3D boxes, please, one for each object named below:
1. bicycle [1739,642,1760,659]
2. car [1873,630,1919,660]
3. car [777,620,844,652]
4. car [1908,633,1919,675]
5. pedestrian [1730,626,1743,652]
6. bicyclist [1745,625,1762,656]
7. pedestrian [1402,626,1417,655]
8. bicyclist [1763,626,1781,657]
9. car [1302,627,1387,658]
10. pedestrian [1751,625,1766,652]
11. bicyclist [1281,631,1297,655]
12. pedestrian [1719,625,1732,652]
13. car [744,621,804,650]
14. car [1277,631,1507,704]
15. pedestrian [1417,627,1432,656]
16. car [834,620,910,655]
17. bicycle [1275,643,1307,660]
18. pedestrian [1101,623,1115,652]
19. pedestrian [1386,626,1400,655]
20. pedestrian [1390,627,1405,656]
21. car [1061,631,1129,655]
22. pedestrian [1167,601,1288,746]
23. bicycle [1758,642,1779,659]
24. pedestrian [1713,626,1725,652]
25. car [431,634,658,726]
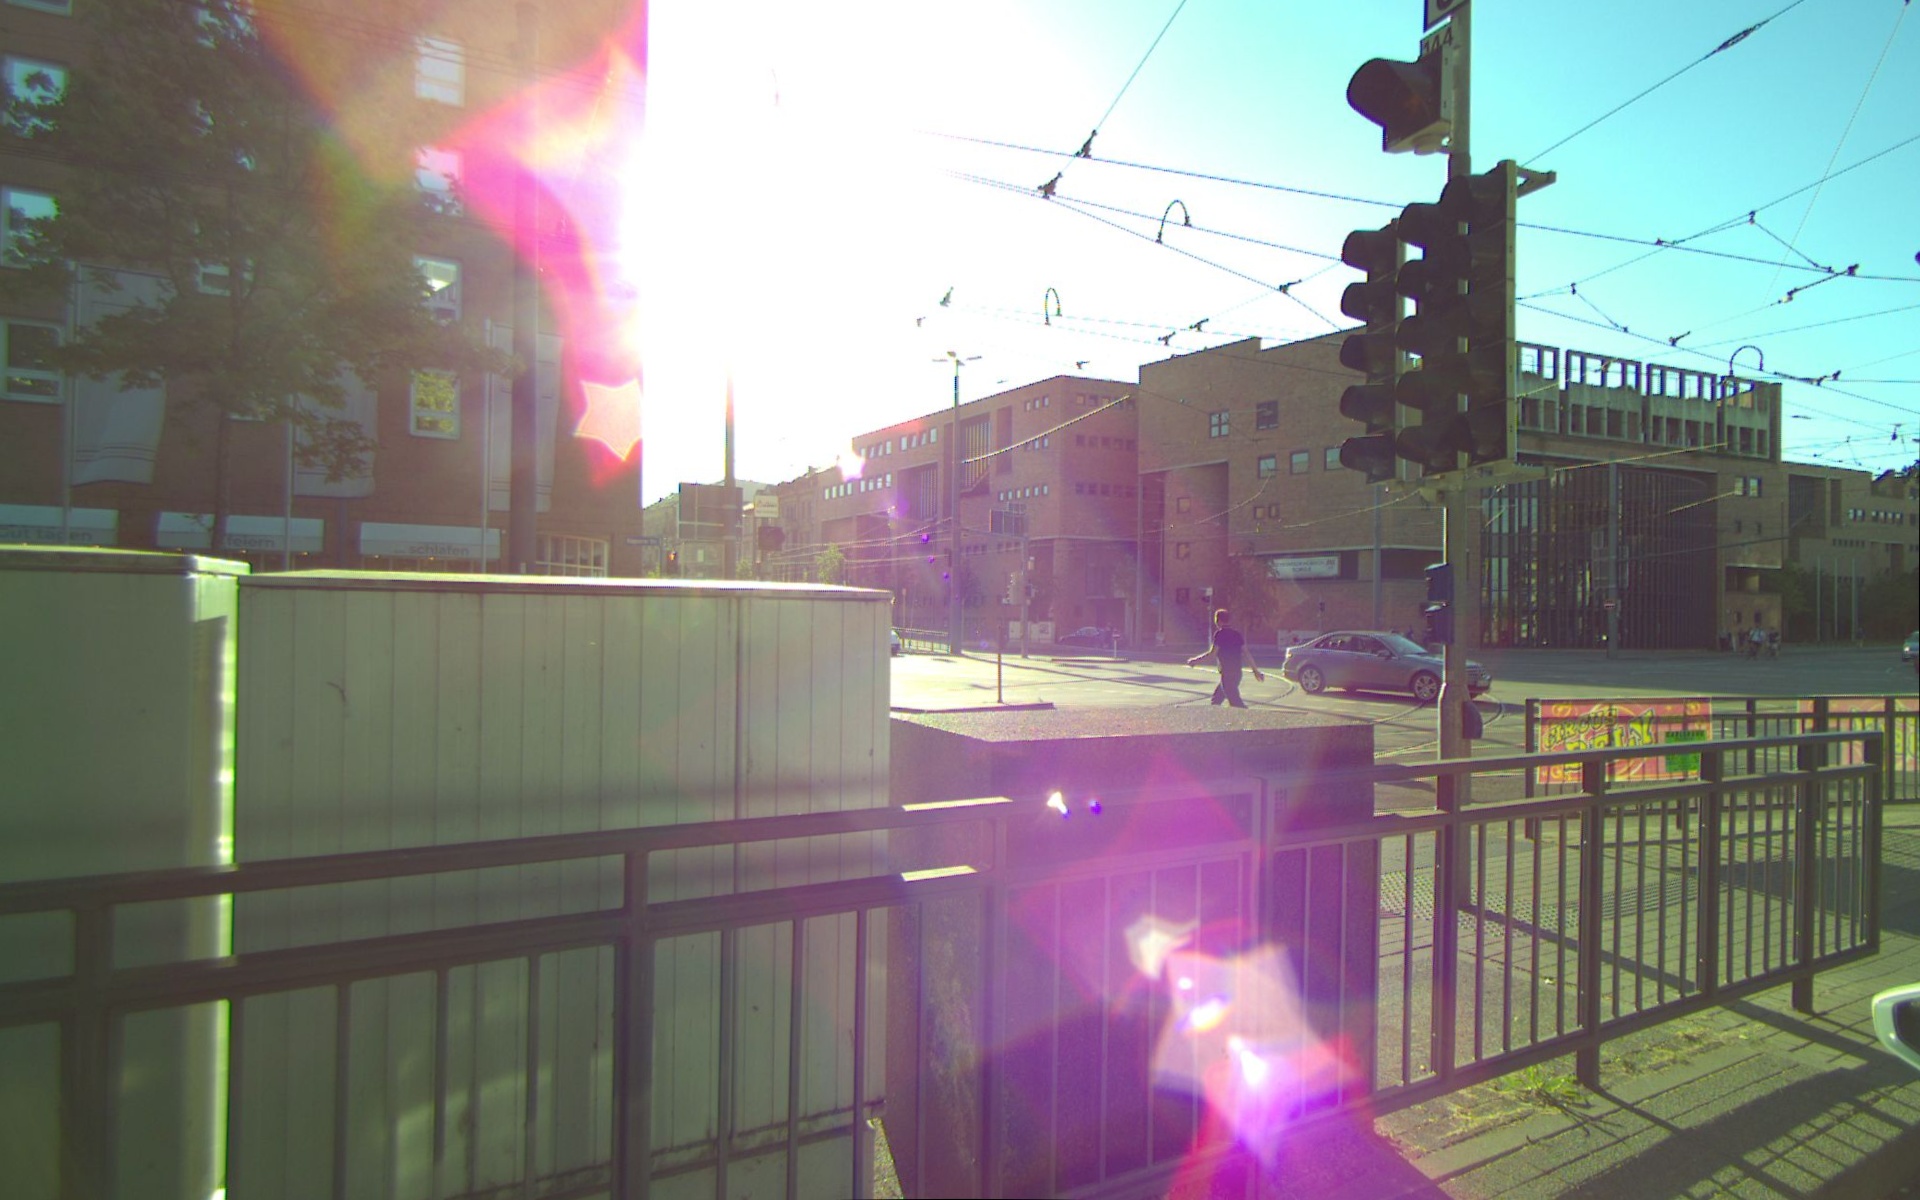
[{"bbox_3d":[44.342,2.827,56.428,1.823,0.893,0.509,2,-2,-38],"label":"bicycle"},{"bbox_3d":[50.004,2.347,52.952,3.961,1.528,1.980,1,-2,-36],"label":"car"},{"bbox_3d":[-8.479,2.009,56.699,1.981,1.719,4.316,1,-2,-36],"label":"car"},{"bbox_3d":[35.135,1.878,34.525,1.782,1.486,3.565,2,-2,-41],"label":"car"},{"bbox_3d":[54.147,2.697,70.022,0.538,1.803,0.521,0,-1,-23],"label":"pedestrian"},{"bbox_3d":[44.515,2.262,56.353,0.782,1.697,0.589,1,-1,-36],"label":"bicyclist"},{"bbox_3d":[25.920,2.350,57.887,0.532,1.672,0.621,1,-1,-29],"label":"pedestrian"},{"bbox_3d":[45.099,2.279,55.817,0.782,1.697,0.589,1,-1,-36],"label":"bicyclist"},{"bbox_3d":[19.921,2.182,52.161,1.779,1.527,3.833,1,-2,-37],"label":"car"},{"bbox_3d":[54.745,2.652,68.842,0.537,1.834,0.640,1,-1,-23],"label":"pedestrian"},{"bbox_3d":[19.056,2.464,58.115,0.809,1.384,0.399,-1,-2,39],"label":"bicyclist"},{"bbox_3d":[53.984,2.708,70.823,0.538,1.834,0.489,1,-1,-23],"label":"pedestrian"},{"bbox_3d":[-11.447,2.181,61.722,1.981,1.719,4.316,1,-2,-36],"label":"car"},{"bbox_3d":[9.455,1.418,22.308,1.980,1.398,4.351,1,-2,-35],"label":"car"},{"bbox_3d":[26.881,2.399,58.150,0.533,1.672,0.620,1,-1,-34],"label":"pedestrian"},{"bbox_3d":[-4.607,1.903,52.053,1.981,1.719,4.316,1,-2,-36],"label":"car"},{"bbox_3d":[19.112,2.962,58.059,1.720,0.911,0.407,-1,-2,39],"label":"bicycle"},{"bbox_3d":[8.684,2.181,58.931,0.608,1.635,0.540,-1,2,-35],"label":"pedestrian"},{"bbox_3d":[24.424,2.277,56.646,0.560,1.635,0.545,0,-1,1],"label":"pedestrian"},{"bbox_3d":[25.461,2.406,58.430,0.532,1.672,0.620,1,-1,-30],"label":"pedestrian"},{"bbox_3d":[8.455,2.682,63.309,1.780,1.453,4.207,1,-2,-39],"label":"car"},{"bbox_3d":[3.628,0.960,13.668,1.032,1.846,1.200,2,-1,-36],"label":"pedestrian"},{"bbox_3d":[44.994,2.797,55.871,1.823,0.893,0.509,2,-2,-38],"label":"bicycle"},{"bbox_3d":[52.884,2.711,70.005,0.538,1.834,0.488,1,-1,-23],"label":"pedestrian"},{"bbox_3d":[-7.131,1.300,17.379,3.282,1.416,1.619,2,-2,-43],"label":"car"}]
